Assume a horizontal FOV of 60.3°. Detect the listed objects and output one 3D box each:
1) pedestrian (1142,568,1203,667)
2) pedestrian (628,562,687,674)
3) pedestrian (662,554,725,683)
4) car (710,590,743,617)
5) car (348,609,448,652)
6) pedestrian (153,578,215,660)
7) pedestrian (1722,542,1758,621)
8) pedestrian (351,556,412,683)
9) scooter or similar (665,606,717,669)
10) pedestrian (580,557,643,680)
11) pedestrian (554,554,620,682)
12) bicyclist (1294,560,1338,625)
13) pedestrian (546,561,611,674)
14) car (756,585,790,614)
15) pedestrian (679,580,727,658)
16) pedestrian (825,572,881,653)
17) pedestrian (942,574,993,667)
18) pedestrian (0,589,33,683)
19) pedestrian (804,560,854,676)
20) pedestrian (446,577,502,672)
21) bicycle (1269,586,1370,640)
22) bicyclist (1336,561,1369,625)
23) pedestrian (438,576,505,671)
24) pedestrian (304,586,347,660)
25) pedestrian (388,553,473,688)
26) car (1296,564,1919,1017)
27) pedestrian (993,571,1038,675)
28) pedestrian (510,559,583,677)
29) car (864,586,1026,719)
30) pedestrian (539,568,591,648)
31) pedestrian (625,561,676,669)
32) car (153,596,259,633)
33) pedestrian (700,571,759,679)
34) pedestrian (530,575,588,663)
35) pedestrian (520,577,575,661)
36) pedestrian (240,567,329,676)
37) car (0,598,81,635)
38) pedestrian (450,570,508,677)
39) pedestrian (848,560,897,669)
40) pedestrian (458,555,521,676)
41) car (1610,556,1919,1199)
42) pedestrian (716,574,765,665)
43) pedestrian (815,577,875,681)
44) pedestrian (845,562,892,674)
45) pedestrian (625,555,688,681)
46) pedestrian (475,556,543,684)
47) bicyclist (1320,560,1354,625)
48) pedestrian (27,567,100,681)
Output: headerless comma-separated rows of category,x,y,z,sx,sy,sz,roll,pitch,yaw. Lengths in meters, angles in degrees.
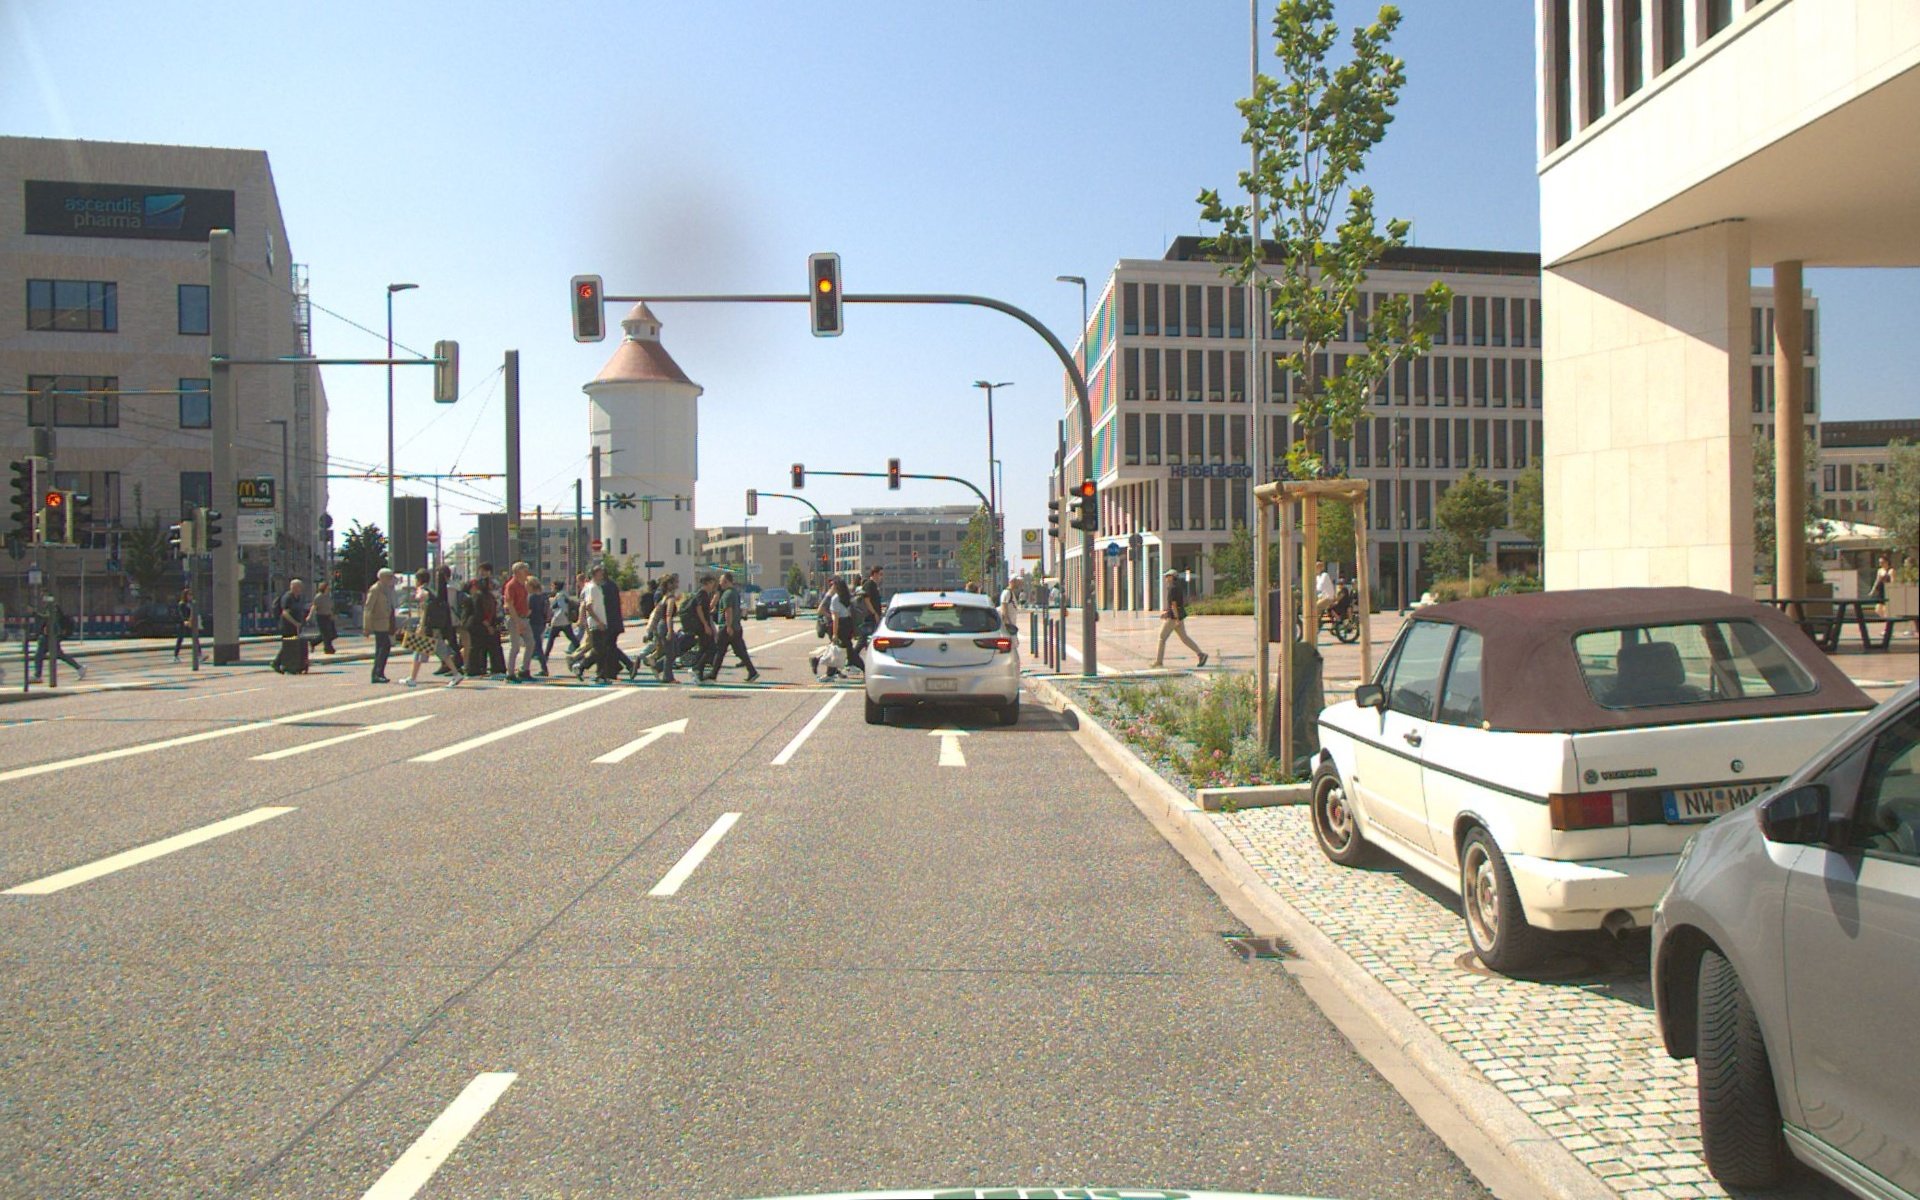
pedestrian,3.701,0.302,28.864,0.970,1.684,0.692,-1,0,1
pedestrian,-5.320,0.310,29.135,0.870,1.923,0.796,-1,0,-1
pedestrian,-4.034,0.273,25.106,0.870,1.923,0.691,-1,0,-6
car,-13.371,0.213,94.765,1.554,1.557,3.256,0,-1,-2
car,-24.142,1.306,71.203,3.873,1.848,1.792,0,-1,-13
pedestrian,-18.500,0.447,39.425,0.869,1.923,0.984,-1,0,19
pedestrian,20.600,-0.491,43.679,0.630,2.049,0.622,-1,0,-1
pedestrian,-8.978,0.297,25.702,0.623,1.923,0.796,-1,0,1
scooter or similar,-5.059,0.695,31.094,0.933,1.137,0.765,-1,0,-10
pedestrian,-5.570,0.282,26.441,0.870,1.923,0.795,-1,0,-6
pedestrian,-5.722,0.273,25.391,0.870,1.923,0.691,-1,0,-6
bicyclist,7.680,-0.157,35.679,0.605,1.384,0.898,-1,0,-12
pedestrian,-6.623,0.305,28.719,0.869,1.923,0.797,-1,0,4
car,-10.451,-0.022,92.615,1.554,1.557,3.691,0,-1,-2
pedestrian,-5.625,0.405,36.299,0.869,1.675,0.797,-1,0,3
pedestrian,-2.491,0.278,38.684,1.156,1.852,1.069,-1,0,3
pedestrian,0.137,0.375,30.400,0.869,1.675,0.797,-1,0,3
pedestrian,-17.674,0.660,30.423,0.880,1.703,1.008,-1,0,-19
pedestrian,-2.200,0.299,27.898,0.750,1.923,0.692,-1,0,0
pedestrian,-8.296,0.414,28.269,0.713,1.603,0.642,-1,0,4
bicycle,7.753,0.270,35.697,1.927,1.102,0.902,-1,0,-13
bicyclist,8.508,-0.154,35.869,0.352,1.384,0.899,-1,0,-11
pedestrian,-8.771,0.412,29.730,0.891,1.665,0.814,-1,0,4
pedestrian,-14.871,0.542,38.786,0.659,1.711,0.692,-1,0,40
pedestrian,-7.753,0.288,24.244,0.993,1.923,0.798,-1,0,-4
car,2.717,0.621,7.566,1.401,1.414,3.999,-4,0,-1
pedestrian,0.958,0.391,28.726,0.750,1.764,0.692,-1,0,0
pedestrian,-6.898,0.294,27.580,0.873,1.923,0.793,-1,0,36
car,-0.131,0.592,19.663,1.735,1.419,3.532,1,-1,1
pedestrian,-8.433,0.176,35.313,0.869,1.675,0.797,-1,0,3
pedestrian,-5.615,0.266,30.039,0.719,1.923,0.714,1,0,4
car,-32.454,0.608,71.241,3.815,1.512,1.680,-1,0,-11
pedestrian,-3.645,0.389,26.224,0.870,1.663,0.691,-1,0,-6
pedestrian,-7.730,0.360,31.906,0.869,1.675,0.797,-1,0,3
pedestrian,-8.402,0.378,33.687,0.869,1.675,0.797,-1,0,3
pedestrian,-12.431,0.381,30.479,1.145,1.923,1.060,-1,2,1
car,-39.725,0.692,70.326,3.815,1.512,1.680,-1,0,-11
pedestrian,-7.571,0.362,26.076,0.620,1.646,0.768,-1,0,5
pedestrian,-1.575,0.260,29.891,0.824,1.923,0.692,-1,0,0
pedestrian,-7.652,0.249,26.926,0.715,1.923,0.821,-1,0,5
car,2.646,0.643,2.933,1.524,1.497,3.469,-3,0,-1
pedestrian,-4.154,0.355,31.254,0.872,1.675,0.794,-1,0,-10
pedestrian,-1.847,0.459,26.536,0.750,1.648,0.692,-1,0,16
pedestrian,-1.596,0.311,28.834,0.750,1.923,0.692,-1,0,0
pedestrian,-4.720,0.273,25.762,0.870,1.923,0.795,-1,0,-6
pedestrian,-6.892,0.299,25.299,0.870,1.923,0.691,-1,0,-6
bicyclist,8.158,-0.157,35.789,0.352,1.384,0.911,-1,0,-11
pedestrian,-16.586,0.432,30.630,1.005,2.049,0.949,-1,0,-19
